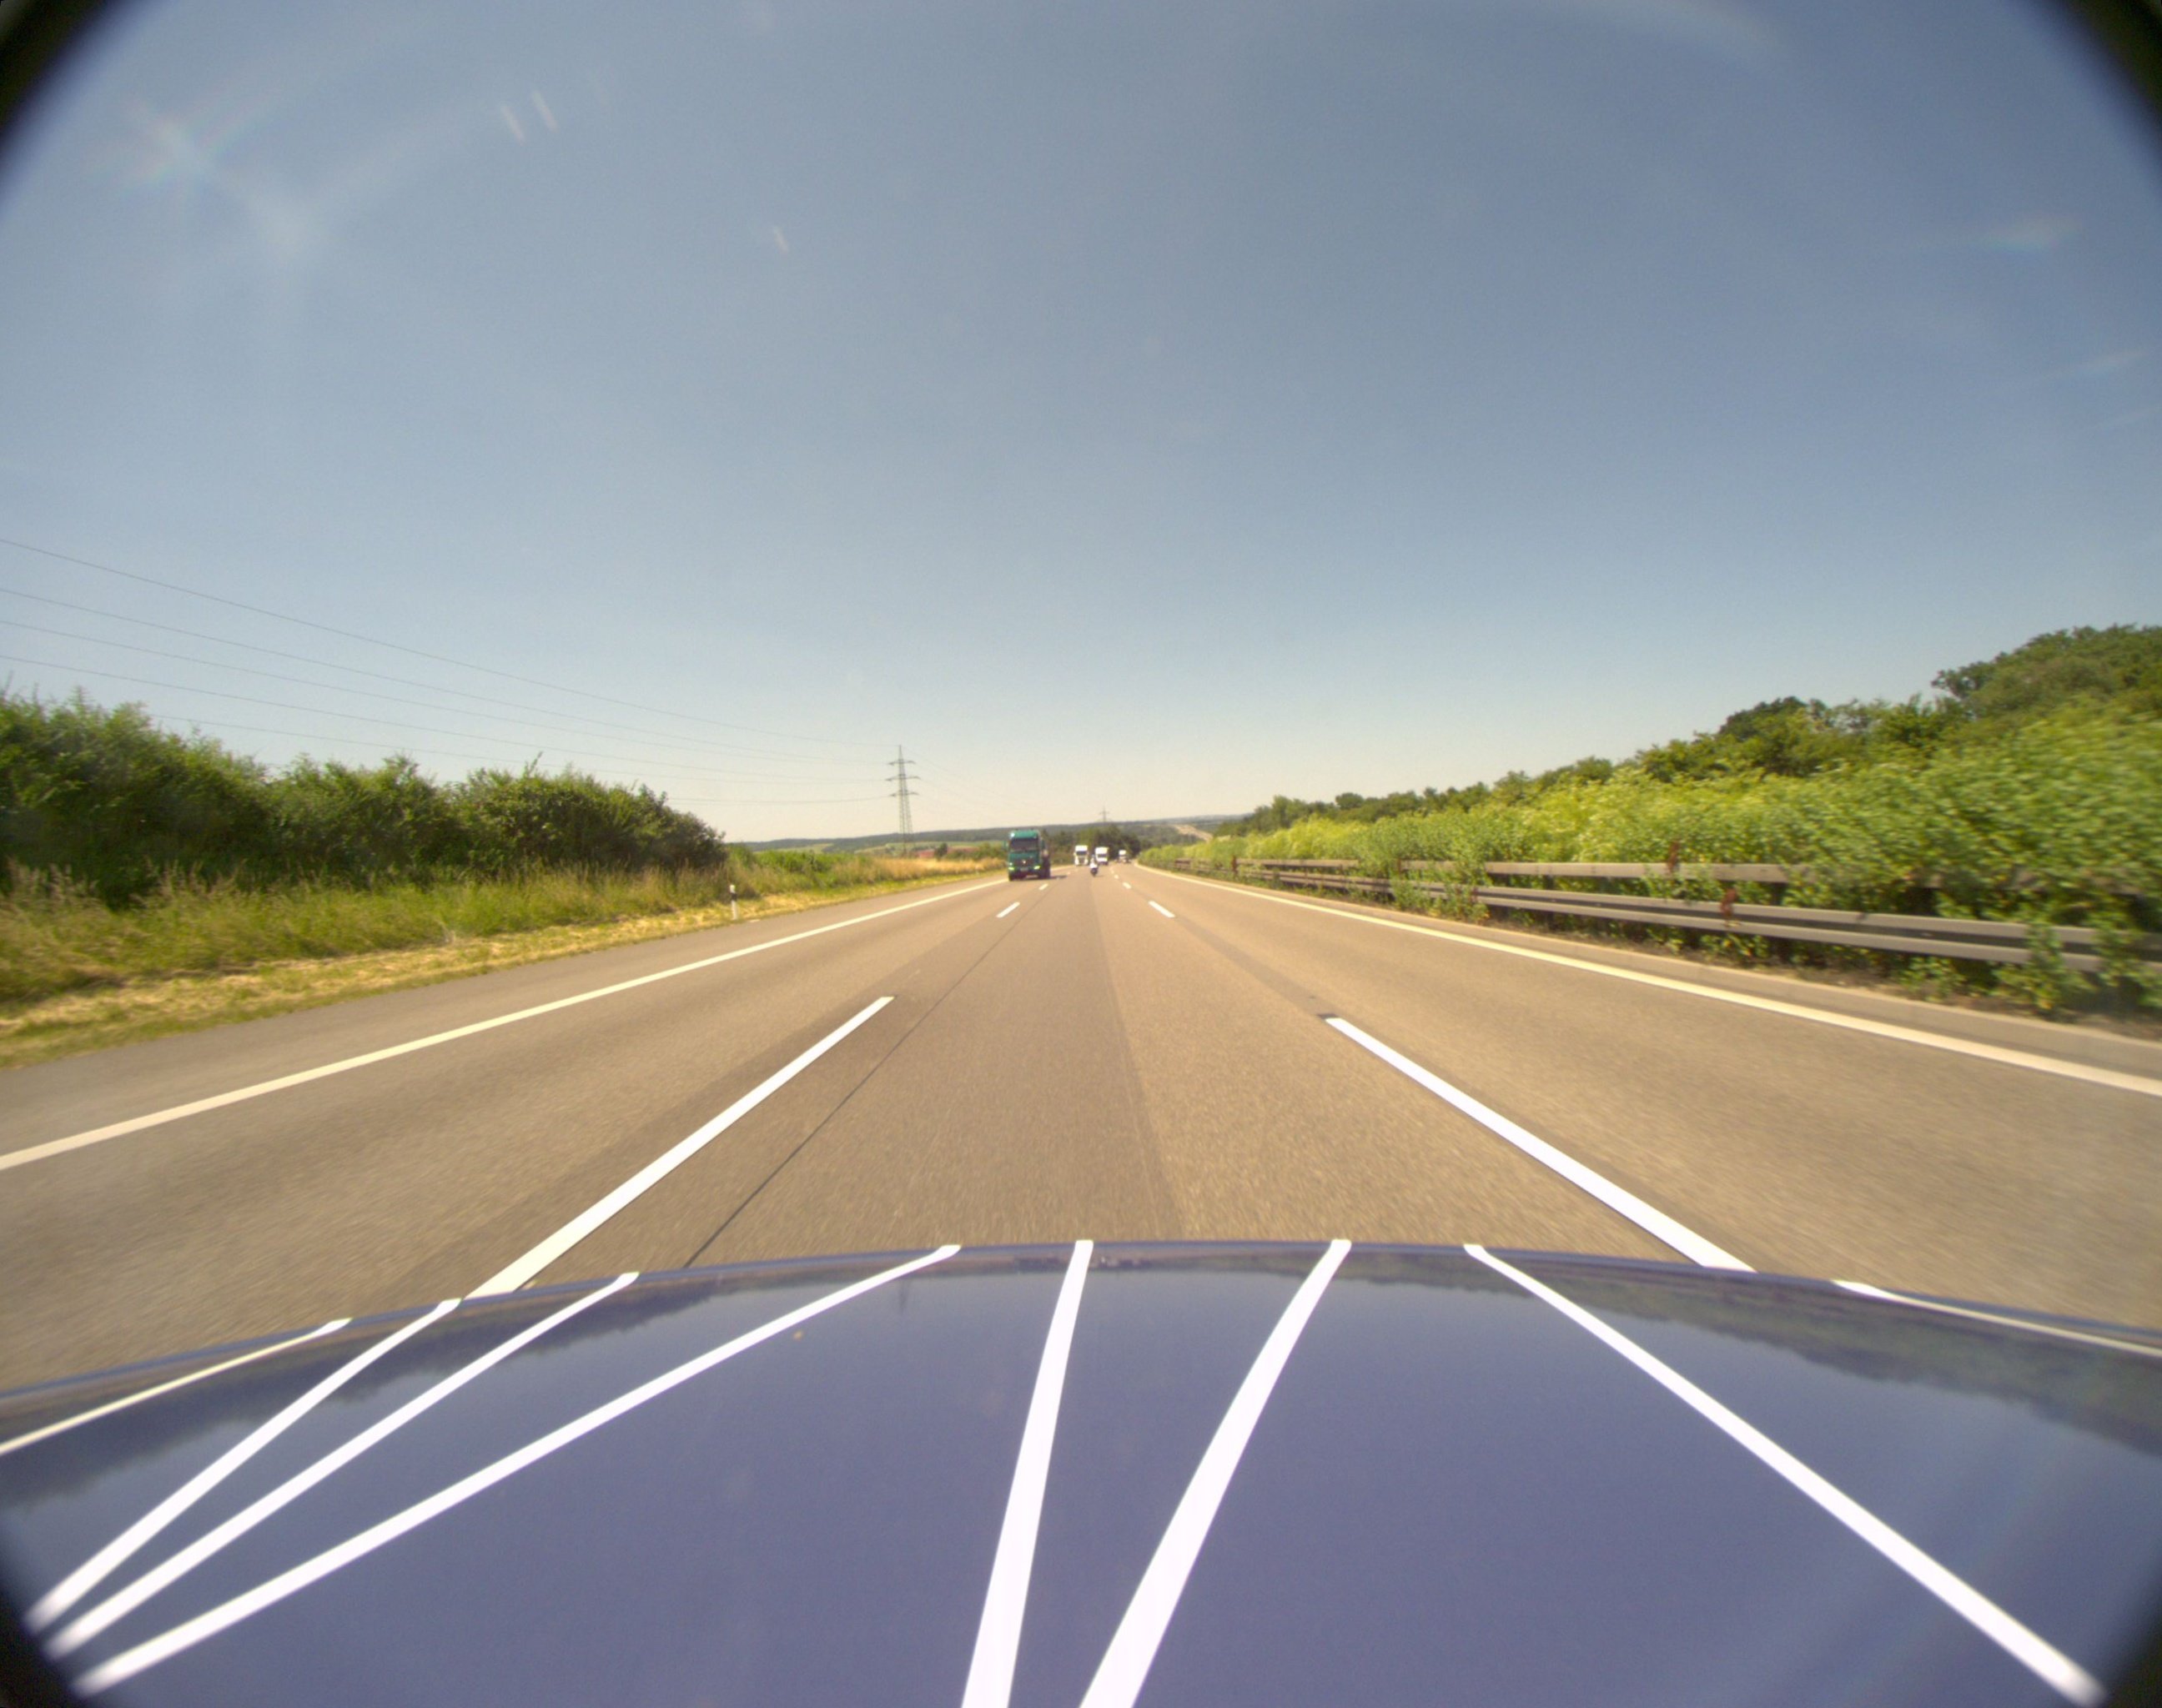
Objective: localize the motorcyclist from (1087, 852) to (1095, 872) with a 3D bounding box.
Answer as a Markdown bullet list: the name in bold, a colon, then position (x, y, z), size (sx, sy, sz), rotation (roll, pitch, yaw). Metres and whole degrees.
- **motorcyclist**: position (0.795, 0.639, 59.380), size (0.613, 1.499, 0.513), rotation (-2, 0, 0)

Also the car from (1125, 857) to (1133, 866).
- **car**: position (11.194, 1.660, 176.320), size (1.704, 1.958, 4.000), rotation (-2, 0, 2)

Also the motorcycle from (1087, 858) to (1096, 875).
- **motorcycle**: position (0.797, 0.945, 59.263), size (0.631, 1.279, 2.313), rotation (-2, 0, 1)

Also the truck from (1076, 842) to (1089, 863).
- **truck**: position (0.328, -0.345, 156.981), size (2.567, 4.129, 6.248), rotation (-2, 0, 0)

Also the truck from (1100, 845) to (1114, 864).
- **truck**: position (4.849, 0.061, 141.695), size (2.512, 3.268, 8.107), rotation (-1, 0, 2)

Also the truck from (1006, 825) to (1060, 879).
- **truck**: position (-3.587, -0.136, 60.319), size (2.872, 3.702, 12.764), rotation (-2, 0, 2)

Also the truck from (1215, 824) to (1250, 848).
- **truck**: position (24.382, -2.794, 123.321), size (2.680, 3.497, 17.040), rotation (-2, 0, 2)
